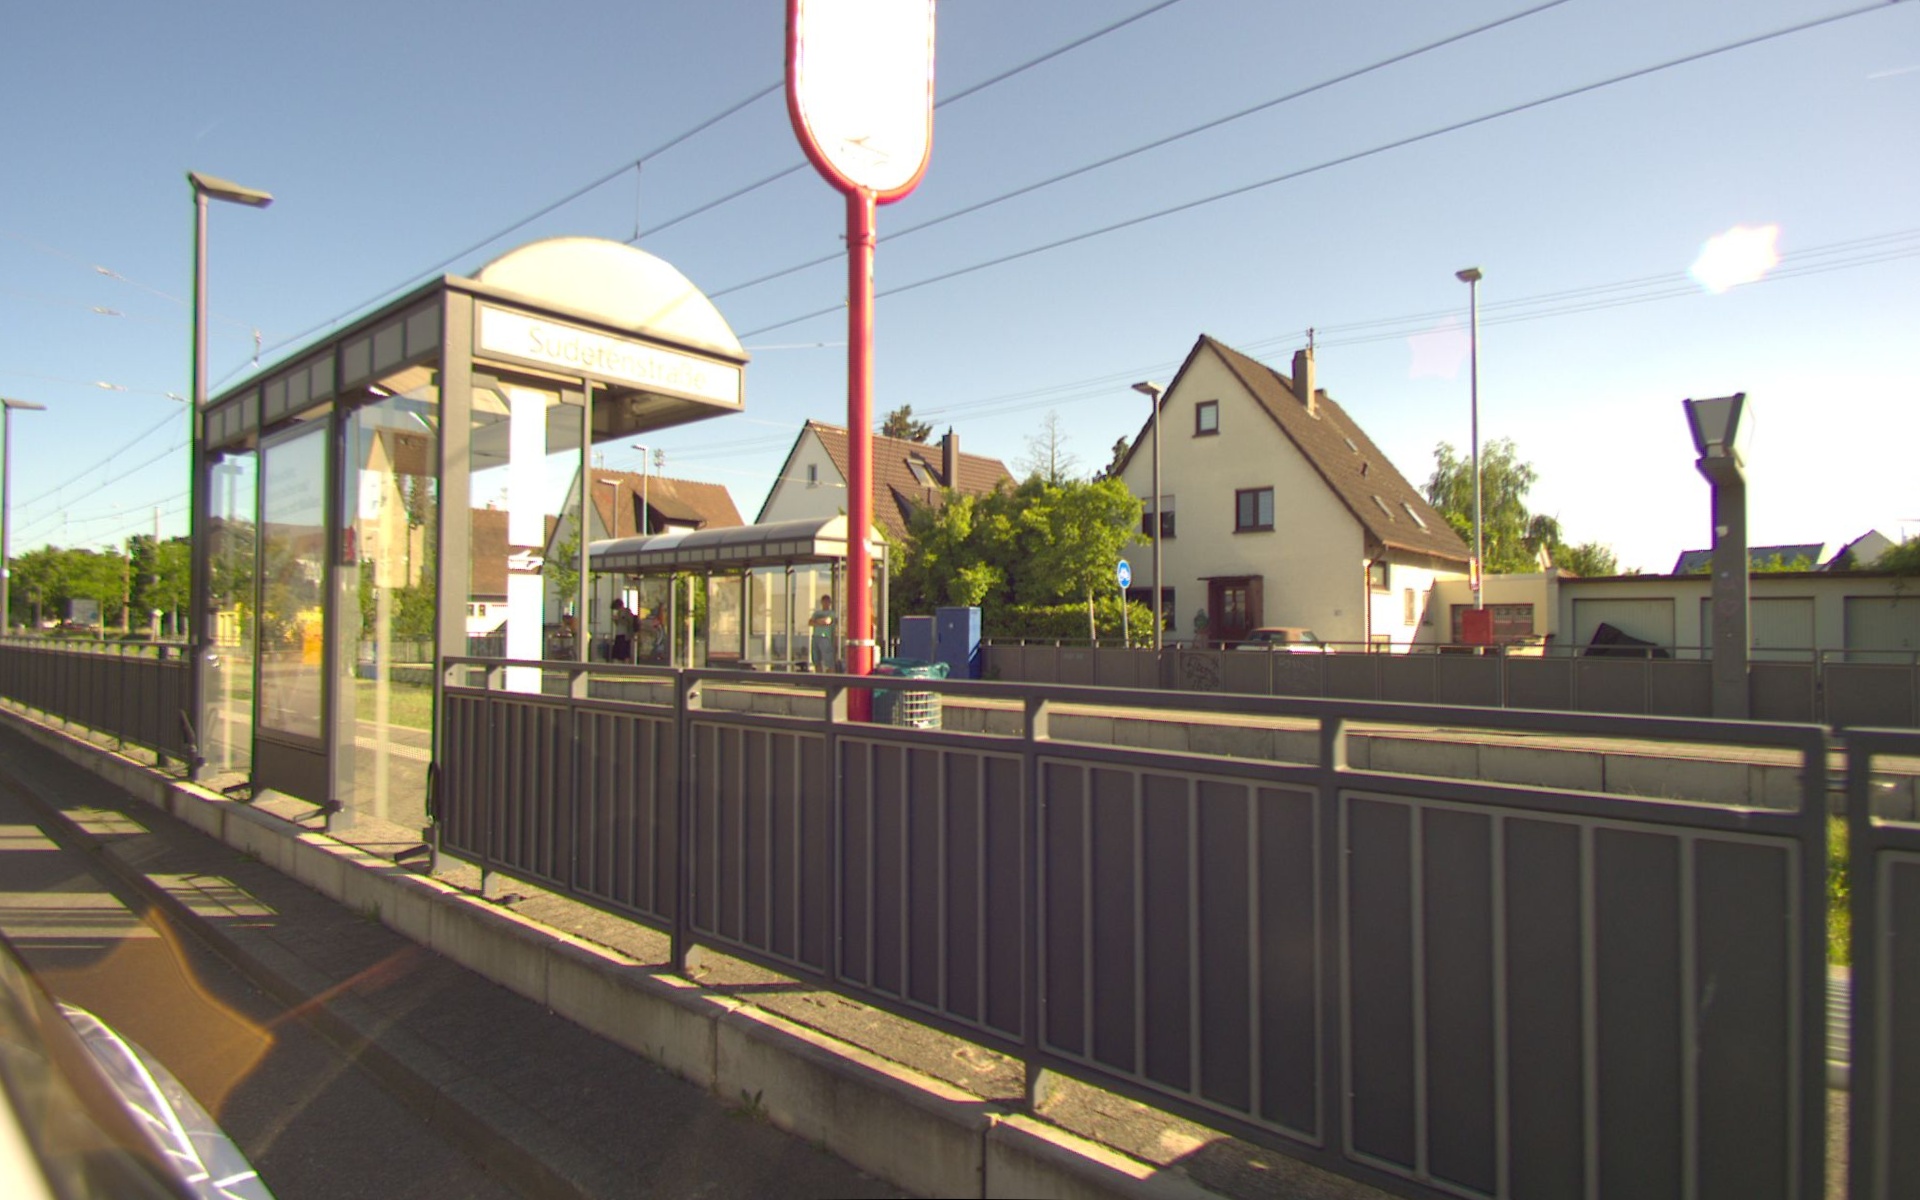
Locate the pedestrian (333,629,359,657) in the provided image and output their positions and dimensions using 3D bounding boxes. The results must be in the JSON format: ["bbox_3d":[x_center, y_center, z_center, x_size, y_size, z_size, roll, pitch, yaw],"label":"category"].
[{"bbox_3d":[-36.186,2.525,59.643,1.085,1.653,0.955,-2,-2,41],"label":"pedestrian"}]

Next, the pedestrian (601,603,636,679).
[{"bbox_3d":[-7.839,0.943,23.252,0.580,1.721,0.515,-2,-3,36],"label":"pedestrian"}]

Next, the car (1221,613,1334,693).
[{"bbox_3d":[8.151,1.276,25.806,1.794,1.820,3.814,-1,0,33],"label":"car"}]

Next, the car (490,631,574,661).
[{"bbox_3d":[-22.116,2.325,52.249,5.159,1.461,1.914,-1,-2,41],"label":"car"}]

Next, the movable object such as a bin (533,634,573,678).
[{"bbox_3d":[-9.392,1.286,23.371,0.740,0.995,0.541,-2,-3,37],"label":"movable object such as a bin"}]

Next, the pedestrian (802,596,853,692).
[{"bbox_3d":[-2.422,0.803,18.463,0.771,1.709,0.495,-2,-5,41],"label":"pedestrian"}]

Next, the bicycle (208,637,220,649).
[{"bbox_3d":[-62.037,3.563,84.152,1.748,0.949,0.419,-1,-1,41],"label":"bicycle"}]

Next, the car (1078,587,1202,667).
[{"bbox_3d":[4.937,0.682,27.437,1.927,1.984,3.955,-1,0,33],"label":"car"}]

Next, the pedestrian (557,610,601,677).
[{"bbox_3d":[-8.983,1.028,23.848,0.748,1.547,0.669,-2,-3,36],"label":"pedestrian"}]

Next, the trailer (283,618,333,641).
[{"bbox_3d":[-49.262,2.229,76.485,1.397,1.660,2.886,-1,-2,38],"label":"trailer"}]
